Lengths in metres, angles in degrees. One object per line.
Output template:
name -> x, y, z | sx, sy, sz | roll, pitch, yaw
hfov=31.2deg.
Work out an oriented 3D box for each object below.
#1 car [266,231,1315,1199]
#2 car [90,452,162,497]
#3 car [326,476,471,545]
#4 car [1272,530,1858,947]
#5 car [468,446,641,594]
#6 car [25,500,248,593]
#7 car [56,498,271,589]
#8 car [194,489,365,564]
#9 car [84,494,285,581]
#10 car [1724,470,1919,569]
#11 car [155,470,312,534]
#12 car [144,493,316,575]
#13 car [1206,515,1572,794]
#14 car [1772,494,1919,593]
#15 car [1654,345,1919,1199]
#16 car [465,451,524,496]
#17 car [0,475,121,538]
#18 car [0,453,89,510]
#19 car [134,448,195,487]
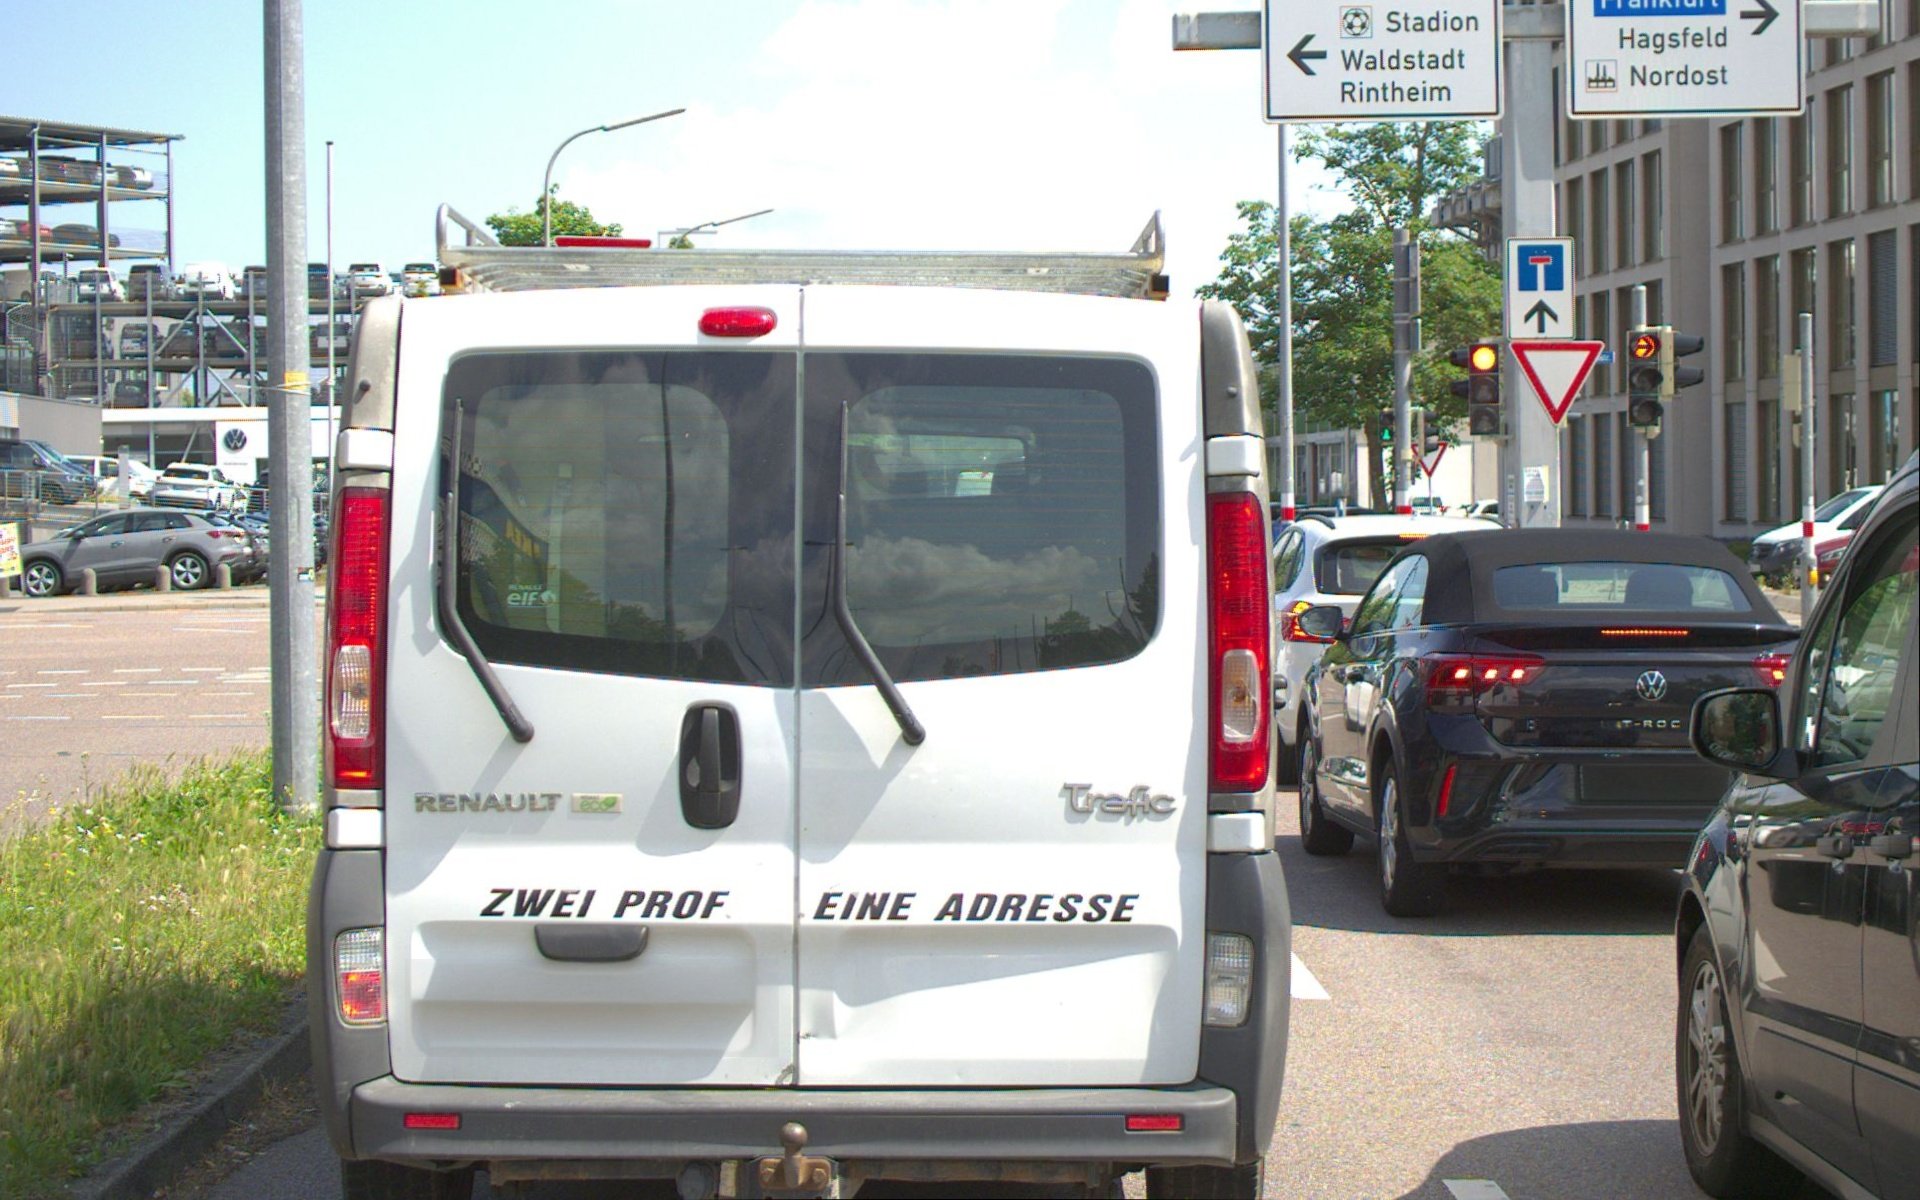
car -> -0.264, 0.315, 8.122 | 1.856, 2.011, 4.000 | 1, 1, 1
car -> -28.945, -4.375, 119.420 | 1.845, 1.524, 4.001 | 0, 2, -5
car -> -15.938, -2.528, 97.672 | 3.986, 1.919, 1.827 | 0, 1, -7
car -> 2.372, 0.466, 14.447 | 1.740, 1.490, 4.000 | 1, 1, 0
car -> -6.551, -1.344, 56.058 | 1.971, 2.248, 4.981 | -2, 2, 2
car -> -15.834, -1.041, 66.237 | 3.861, 1.633, 1.858 | -2, 2, -4
car -> -15.895, -1.138, 68.740 | 3.912, 1.707, 1.689 | -2, 1, -4
car -> -16.795, -1.829, 85.002 | 3.912, 1.707, 1.689 | -2, 2, -4
car -> -16.507, -1.339, 73.280 | 3.912, 1.707, 1.689 | -2, 2, -4
car -> 15.479, -1.351, 57.281 | 4.982, 1.602, 2.000 | 0, 2, -3
car -> -20.453, -2.762, 96.905 | 4.164, 1.707, 1.689 | 1, 2, -6
car -> -16.238, -1.478, 76.614 | 3.507, 1.707, 1.604 | -2, 2, -4
car -> 2.541, 0.270, 21.234 | 1.740, 1.538, 4.000 | 1, 1, 0
car -> 14.725, -0.882, 53.093 | 3.893, 1.485, 1.795 | 0, 2, -1
car -> 2.497, 0.481, 6.125 | 1.820, 1.802, 4.000 | 1, 1, 2
car -> -16.055, -4.352, 118.635 | 1.845, 1.524, 4.001 | 0, 2, -5
car -> -25.525, -2.602, 95.428 | 4.164, 1.707, 1.689 | 0, 1, -6
car -> -28.866, -3.631, 105.053 | 4.164, 1.707, 1.689 | 0, 1, -6
car -> -31.825, -5.307, 137.578 | 1.845, 1.524, 4.001 | 0, 2, -5
